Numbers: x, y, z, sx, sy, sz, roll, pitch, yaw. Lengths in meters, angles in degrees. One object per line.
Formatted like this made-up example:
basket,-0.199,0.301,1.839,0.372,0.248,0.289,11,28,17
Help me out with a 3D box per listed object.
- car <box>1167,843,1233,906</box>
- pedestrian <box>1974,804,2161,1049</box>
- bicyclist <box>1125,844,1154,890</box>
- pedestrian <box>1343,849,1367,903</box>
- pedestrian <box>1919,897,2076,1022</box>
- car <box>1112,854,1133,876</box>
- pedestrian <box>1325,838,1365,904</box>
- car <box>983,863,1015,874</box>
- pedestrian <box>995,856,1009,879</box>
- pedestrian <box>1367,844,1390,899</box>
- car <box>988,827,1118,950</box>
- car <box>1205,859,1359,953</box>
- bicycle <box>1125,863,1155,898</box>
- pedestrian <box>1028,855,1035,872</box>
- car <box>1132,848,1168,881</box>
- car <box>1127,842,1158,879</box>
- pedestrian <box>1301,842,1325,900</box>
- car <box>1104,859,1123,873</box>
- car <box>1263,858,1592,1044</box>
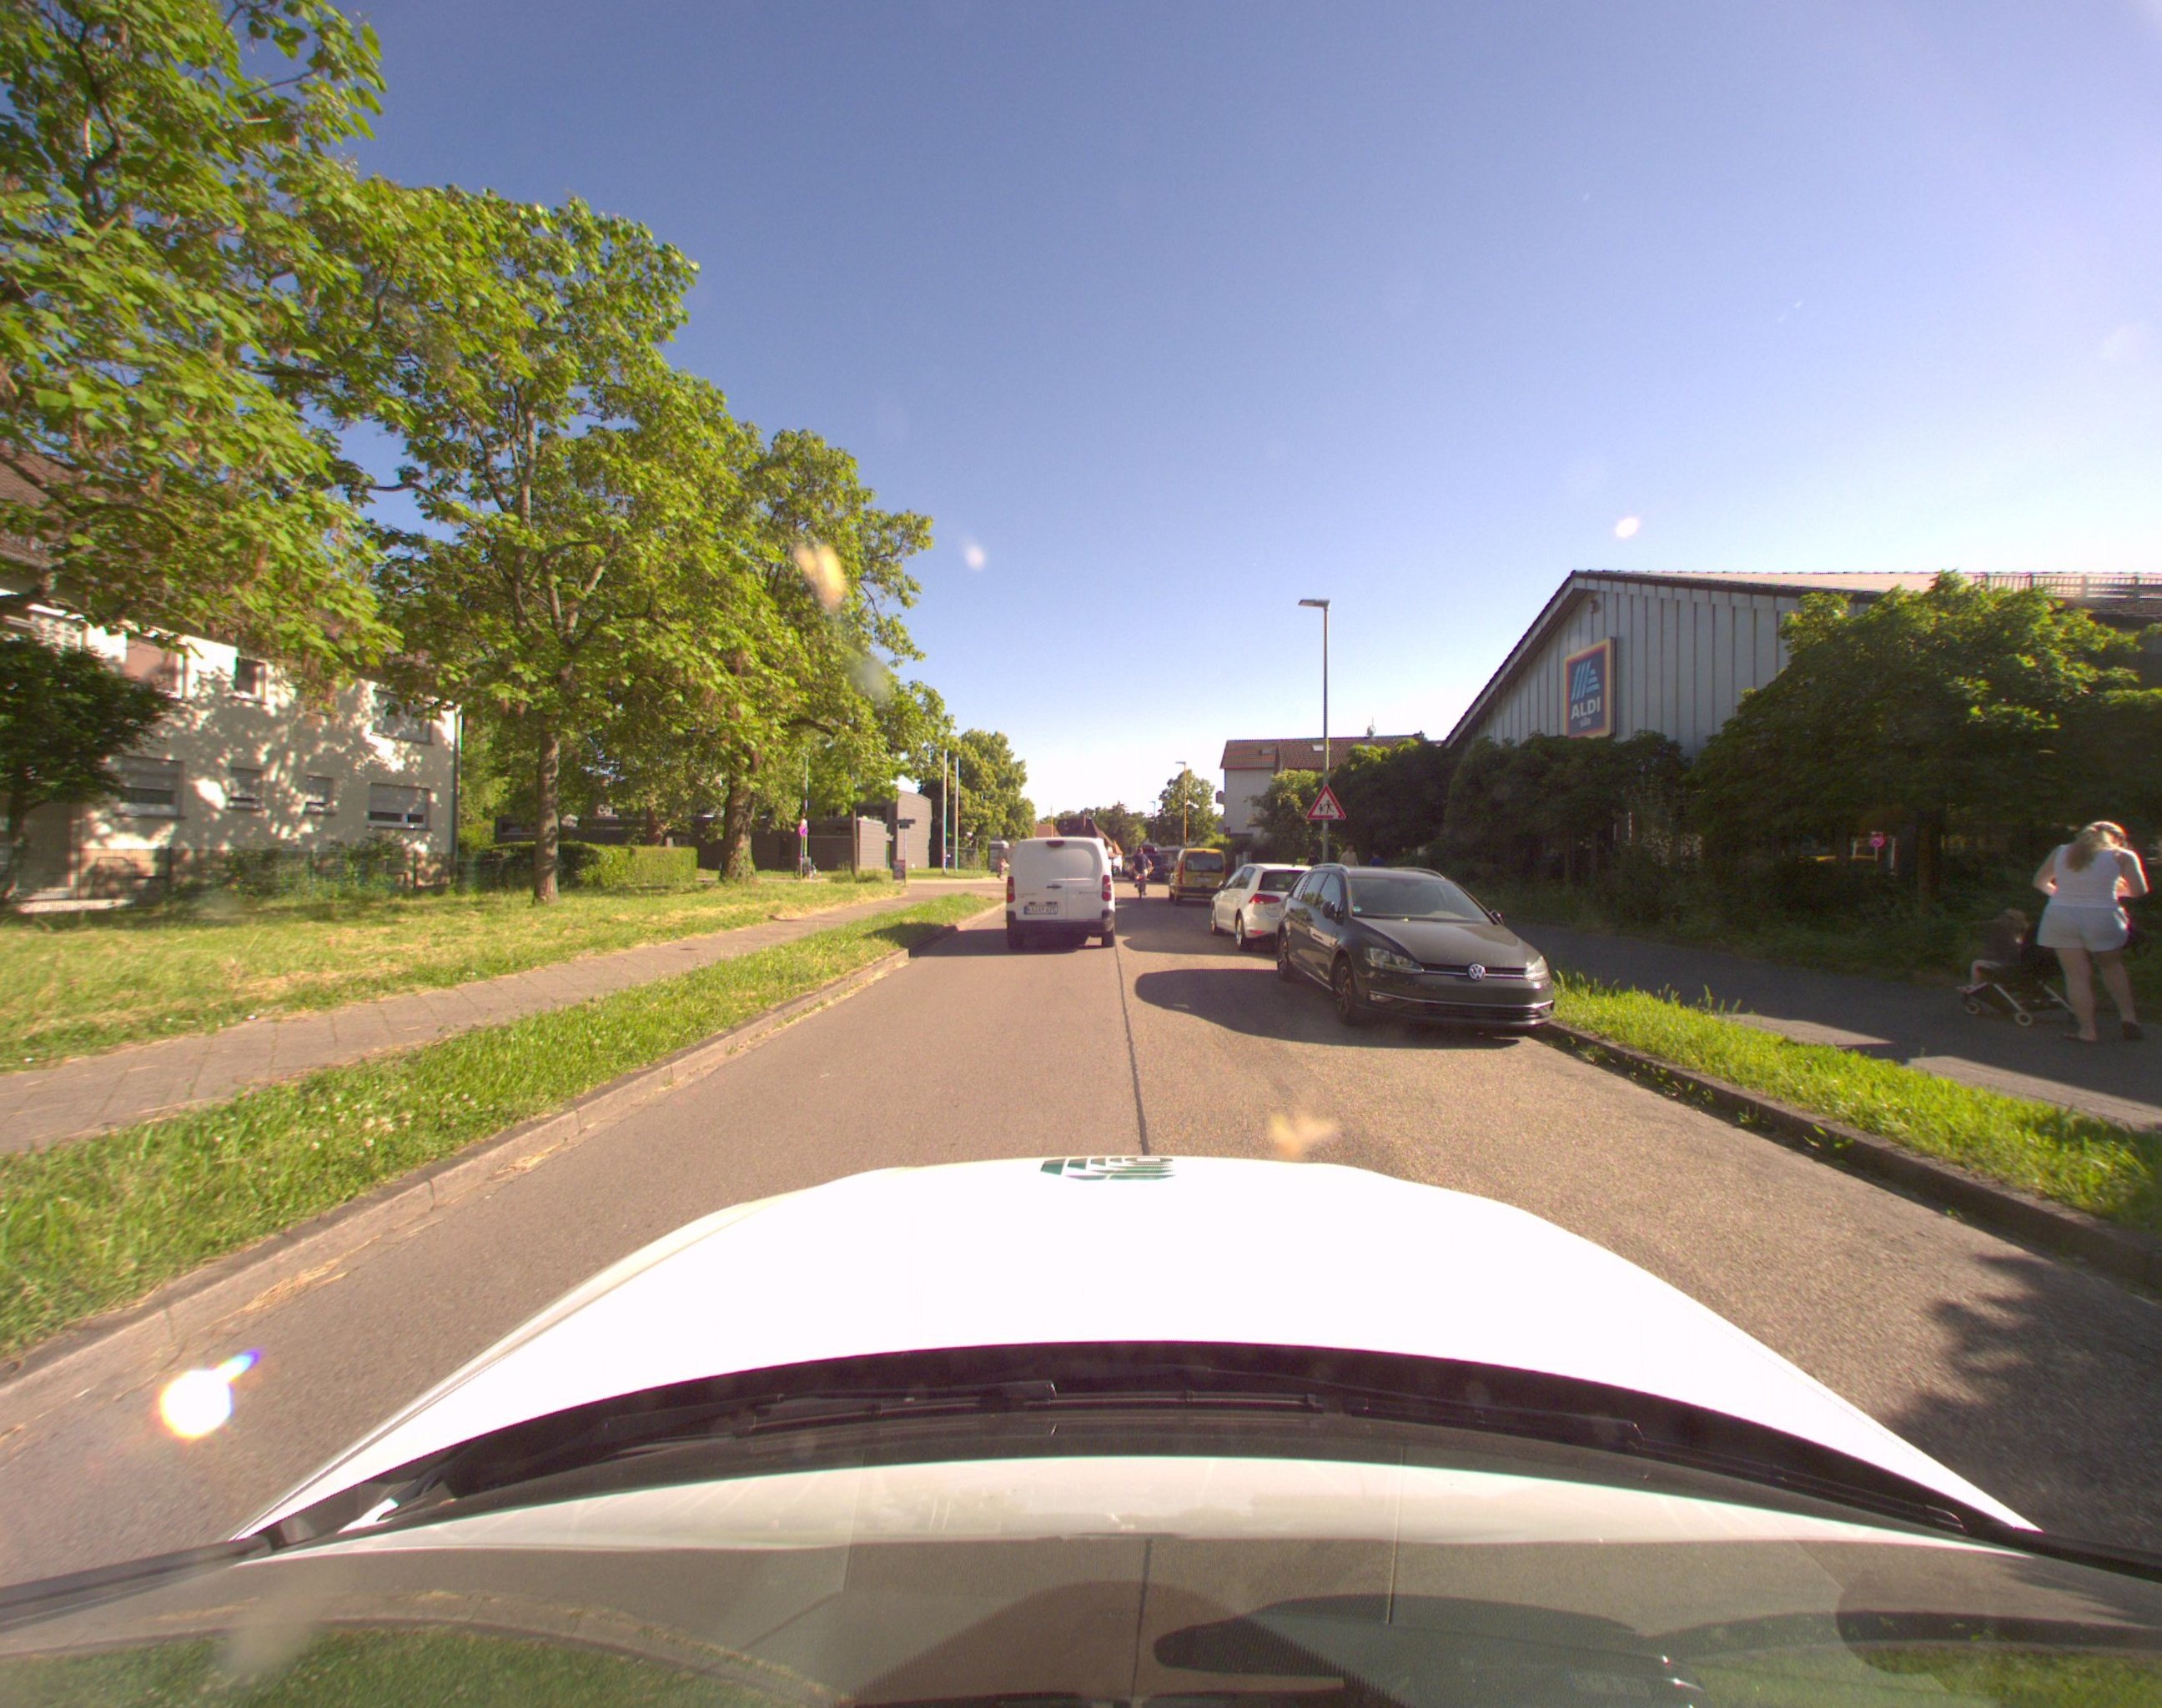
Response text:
car,3.775,0.626,26.441,1.717,1.837,4.002,1,0,2
pedestrian,7.790,0.526,6.343,0.793,1.782,0.811,0,0,9
bicyclist,2.078,0.467,28.684,0.900,1.584,0.969,1,-1,10
pedestrian,8.357,0.661,24.855,0.564,1.637,0.547,0,0,6
pedestrian,8.019,0.897,7.162,0.529,0.980,0.812,1,0,9
car,4.004,1.087,79.533,1.798,2.069,3.999,2,-1,0
pedestrian,7.547,0.477,23.284,0.792,1.861,0.872,1,0,-6
car,-11.062,1.898,109.819,3.945,1.429,1.724,1,0,19
pedestrian,-5.183,0.873,53.448,0.505,1.446,0.643,3,0,34
pedestrian,9.065,0.525,24.816,0.564,1.637,0.547,0,0,6
car,-0.343,0.532,14.844,1.985,1.882,4.292,1,0,3
car,3.458,0.828,14.778,1.820,1.452,3.999,1,0,0
bicycle,2.084,0.913,28.588,0.782,1.139,2.286,-2,-1,10
pedestrian,-5.189,1.000,85.182,0.619,1.805,0.640,0,-2,0
car,4.469,0.692,53.130,1.798,1.785,3.999,9,-1,0
car,4.510,0.518,60.363,1.860,2.562,4.767,2,-1,0
pedestrian,6.648,0.486,23.326,0.564,1.637,0.547,0,0,6
car,4.491,1.696,112.453,1.792,1.842,4.013,2,-1,12
car,3.289,0.799,8.772,1.800,1.443,4.365,1,0,2
